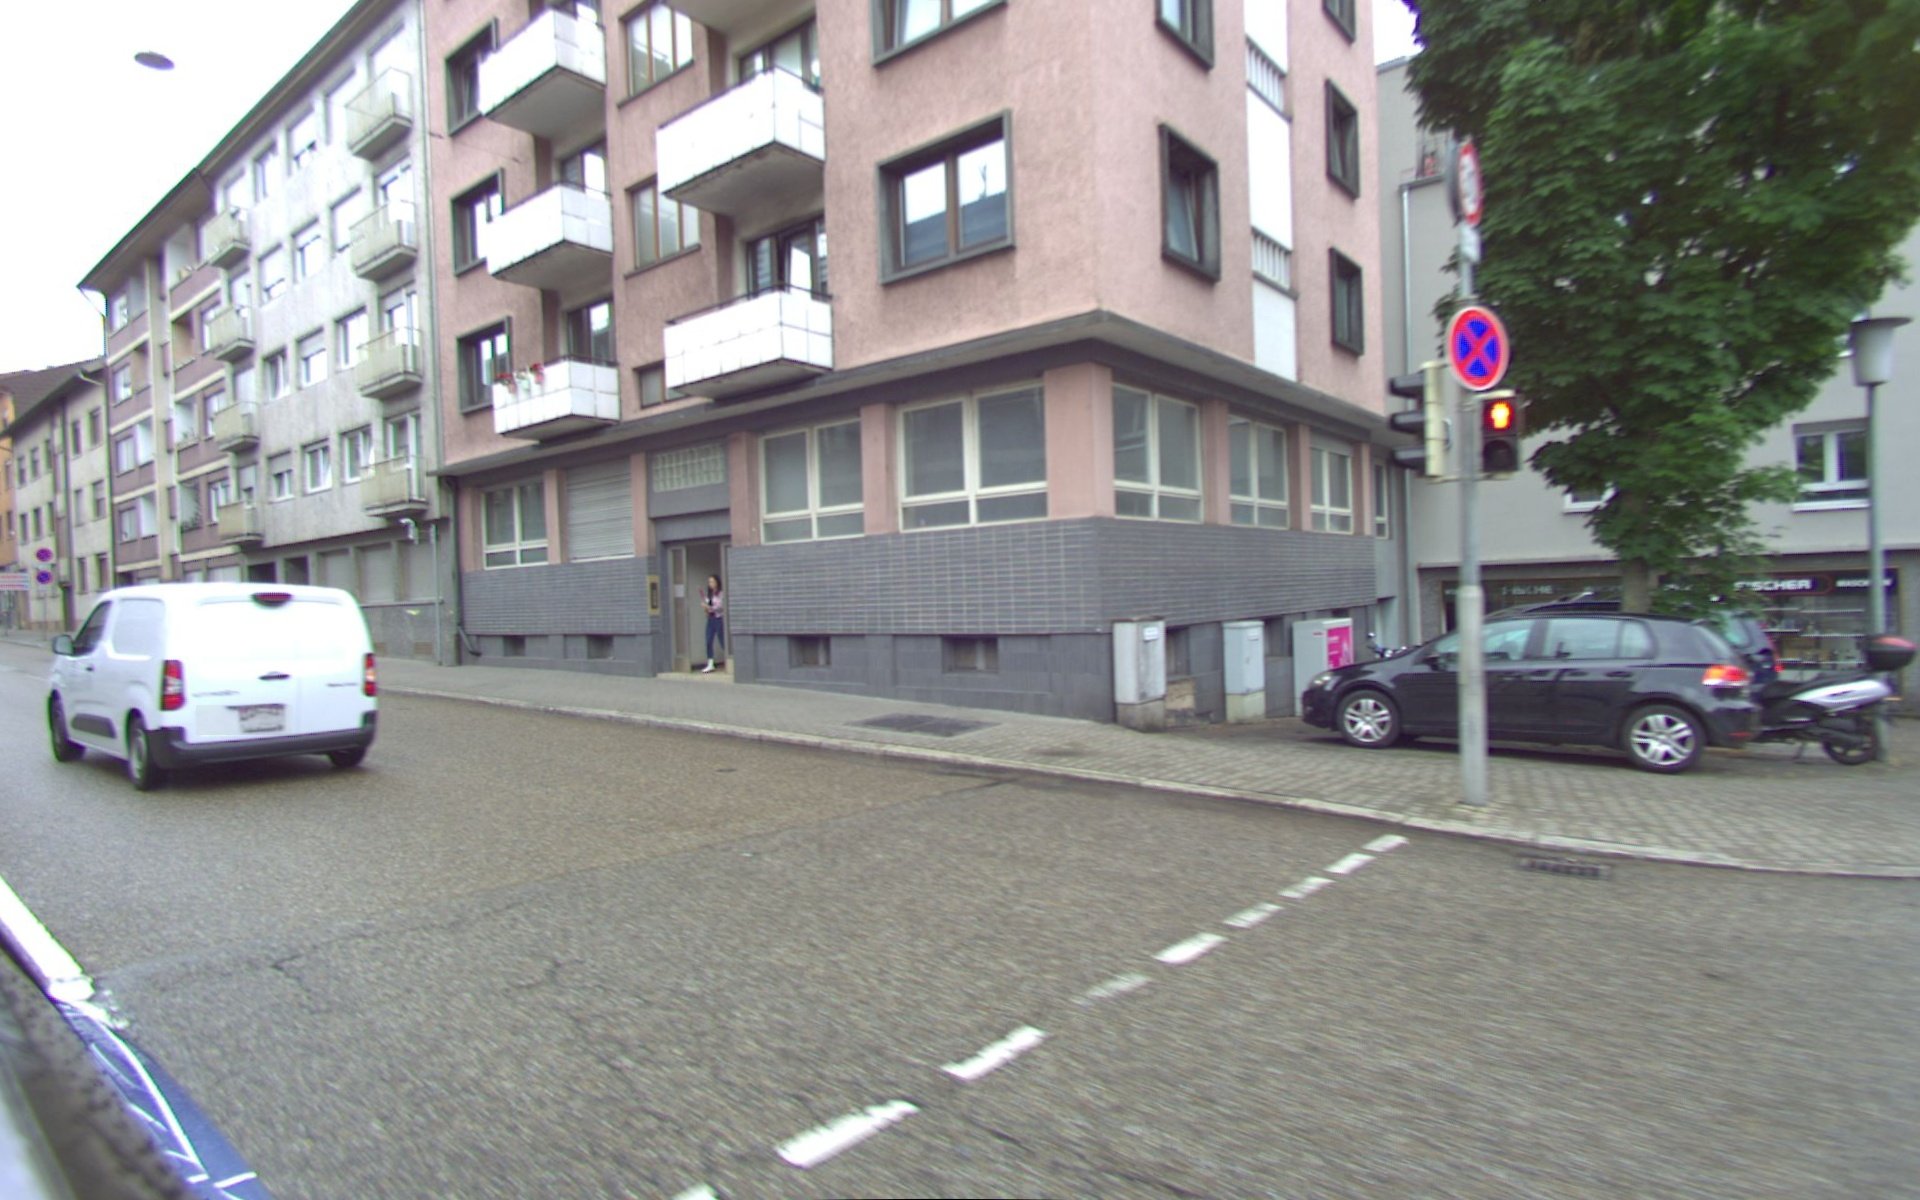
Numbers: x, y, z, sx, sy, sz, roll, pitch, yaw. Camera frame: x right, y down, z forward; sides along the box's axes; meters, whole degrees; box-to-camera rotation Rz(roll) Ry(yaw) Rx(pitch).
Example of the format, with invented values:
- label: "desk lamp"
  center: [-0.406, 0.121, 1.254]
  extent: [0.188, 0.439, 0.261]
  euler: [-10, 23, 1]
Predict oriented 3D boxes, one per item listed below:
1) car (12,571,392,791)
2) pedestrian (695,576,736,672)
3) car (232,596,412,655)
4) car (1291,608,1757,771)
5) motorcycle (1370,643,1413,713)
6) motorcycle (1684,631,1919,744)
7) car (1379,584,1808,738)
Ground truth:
- label: "car"
  center: [-7.644, 0.695, 10.051]
  extent: [4.538, 1.728, 1.789]
  euler: [-1, -2, 37]
- label: "pedestrian"
  center: [-4.146, 0.400, 17.192]
  extent: [0.525, 1.569, 0.449]
  euler: [2, 5, 14]
- label: "car"
  center: [-19.589, 0.732, 31.247]
  extent: [1.996, 1.587, 4.257]
  euler: [-1, 1, 36]
- label: "car"
  center: [5.715, 0.791, 10.524]
  extent: [3.994, 1.370, 1.716]
  euler: [0, -2, 38]
- label: "motorcycle"
  center: [7.922, 1.402, 18.549]
  extent: [0.483, 1.098, 1.509]
  euler: [-1, 2, 32]
- label: "motorcycle"
  center: [8.408, 0.847, 10.181]
  extent: [1.788, 1.040, 0.448]
  euler: [-1, -1, 31]
- label: "car"
  center: [7.813, 0.737, 13.007]
  extent: [4.309, 1.741, 1.763]
  euler: [0, -3, 17]
